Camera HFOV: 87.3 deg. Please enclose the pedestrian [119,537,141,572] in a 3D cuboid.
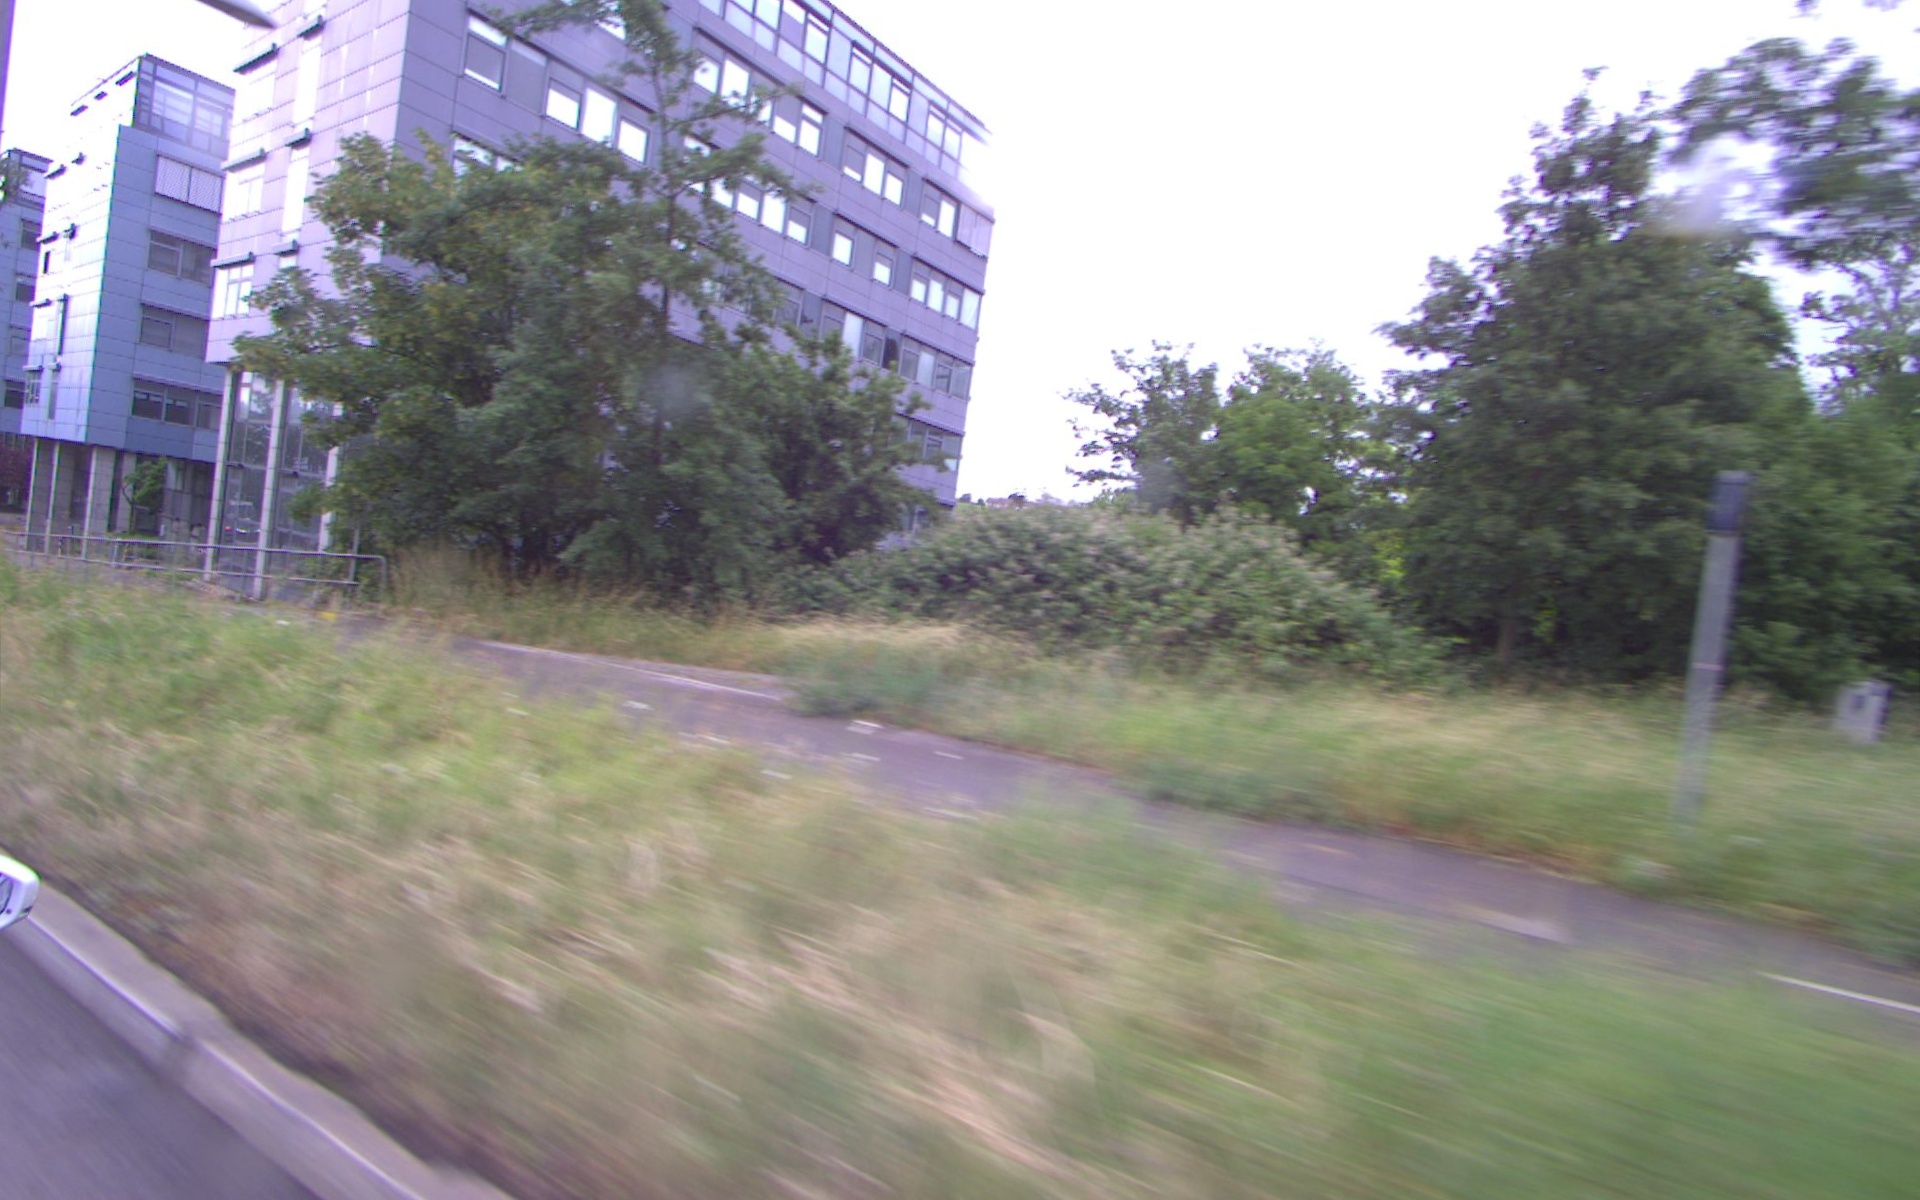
[{"bbox_3d":[-35.301,-1.940,42.802,0.450,1.425,0.503,6,-1,35],"label":"pedestrian"}]
